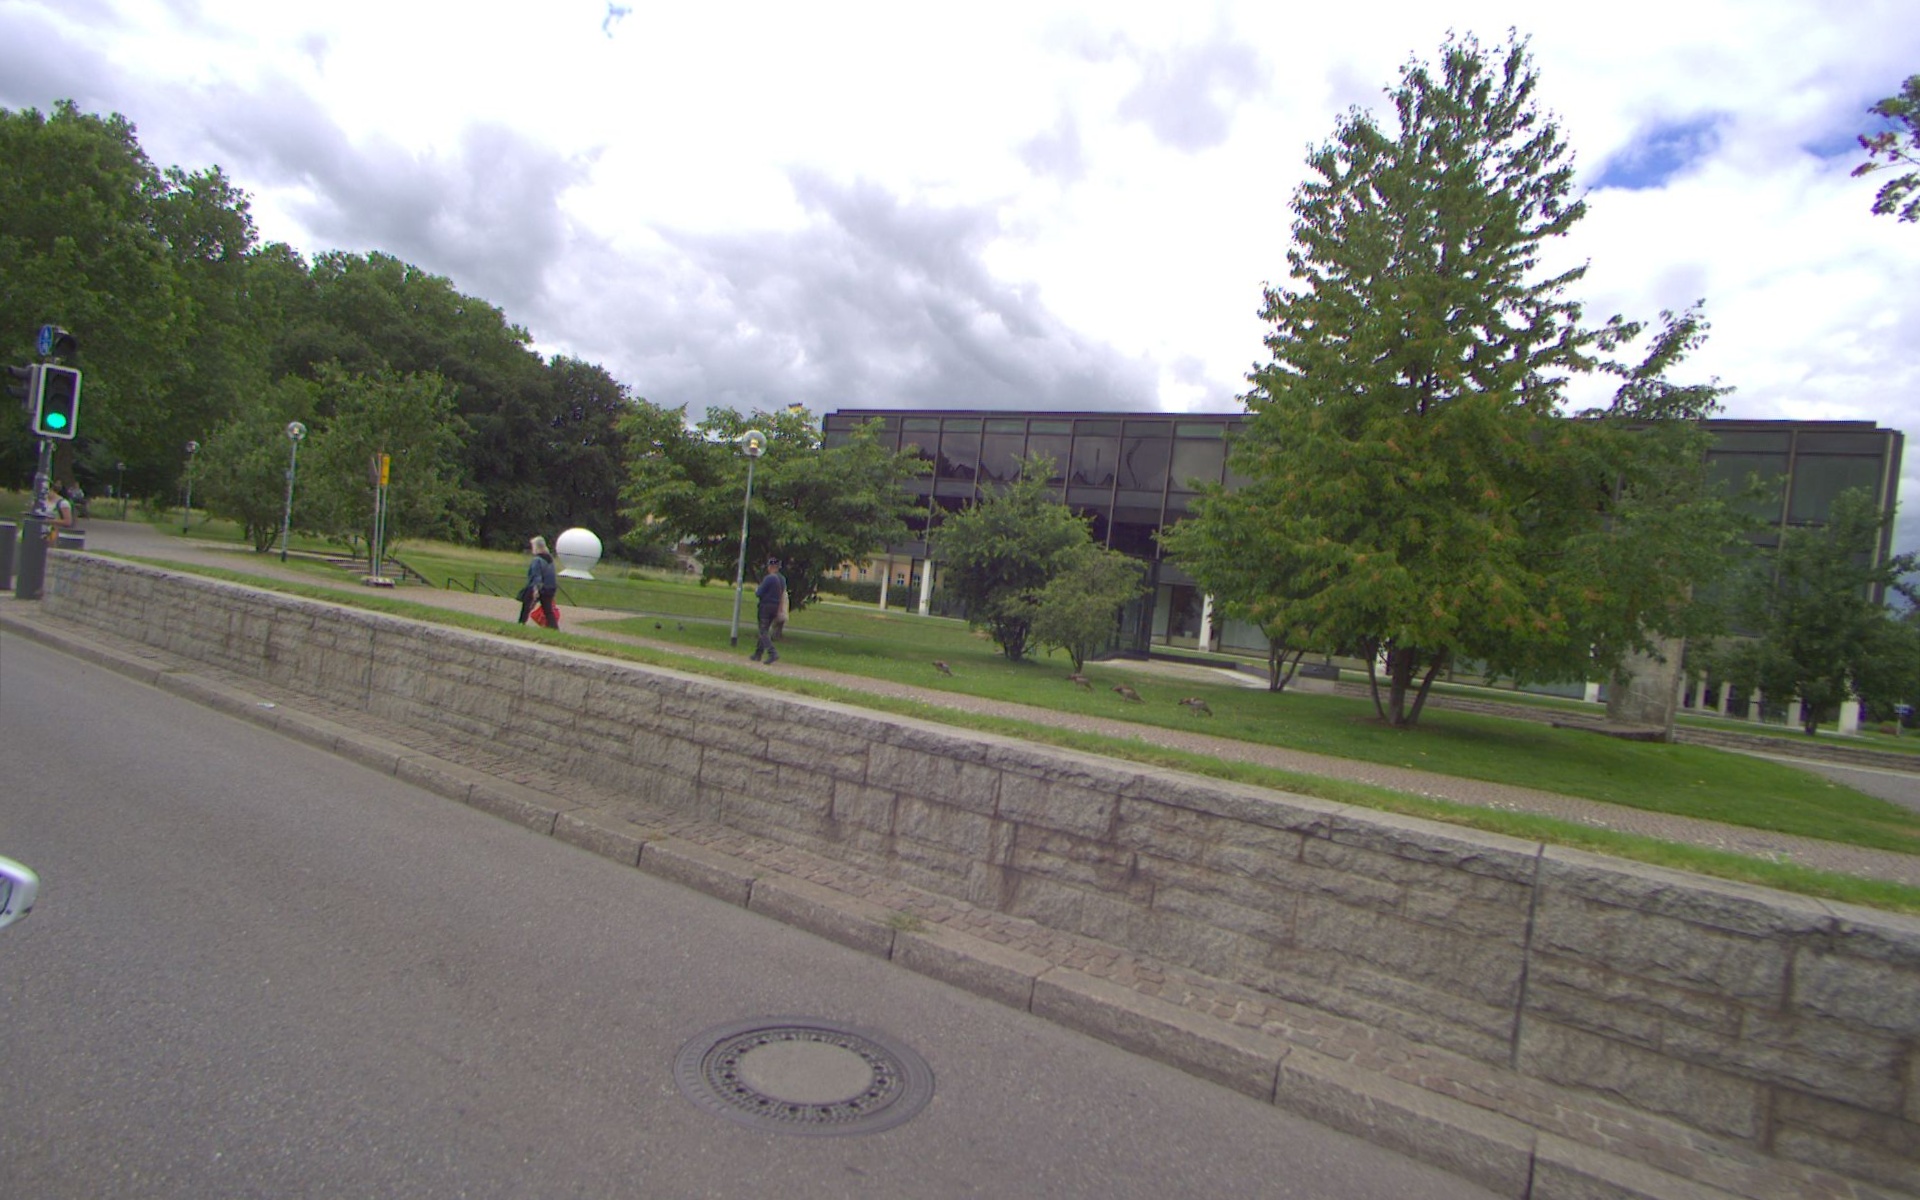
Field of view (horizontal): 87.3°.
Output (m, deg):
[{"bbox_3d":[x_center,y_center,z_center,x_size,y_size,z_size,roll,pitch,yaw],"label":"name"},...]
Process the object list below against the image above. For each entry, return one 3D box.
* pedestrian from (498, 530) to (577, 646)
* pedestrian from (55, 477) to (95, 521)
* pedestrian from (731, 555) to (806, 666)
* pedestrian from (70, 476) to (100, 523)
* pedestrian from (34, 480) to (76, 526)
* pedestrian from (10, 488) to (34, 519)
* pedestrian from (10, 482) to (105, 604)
[{"bbox_3d":[-6.229,-0.184,14.810,0.680,1.582,0.897,6,1,-42],"label":"pedestrian"},{"bbox_3d":[-41.154,-4.681,46.759,1.013,1.857,0.998,6,-2,34],"label":"pedestrian"},{"bbox_3d":[-3.010,0.172,15.850,0.617,1.647,0.801,7,1,38],"label":"pedestrian"},{"bbox_3d":[-40.161,-4.618,46.157,0.917,2.036,0.571,6,-2,31],"label":"pedestrian"},{"bbox_3d":[-38.278,-4.091,42.543,0.952,1.752,0.898,7,-2,31],"label":"pedestrian"},{"bbox_3d":[-44.055,-4.543,47.256,0.533,1.339,0.583,5,-3,31],"label":"pedestrian"},{"bbox_3d":[-13.391,-0.836,14.938,0.672,1.674,0.699,6,-2,30],"label":"pedestrian"}]
